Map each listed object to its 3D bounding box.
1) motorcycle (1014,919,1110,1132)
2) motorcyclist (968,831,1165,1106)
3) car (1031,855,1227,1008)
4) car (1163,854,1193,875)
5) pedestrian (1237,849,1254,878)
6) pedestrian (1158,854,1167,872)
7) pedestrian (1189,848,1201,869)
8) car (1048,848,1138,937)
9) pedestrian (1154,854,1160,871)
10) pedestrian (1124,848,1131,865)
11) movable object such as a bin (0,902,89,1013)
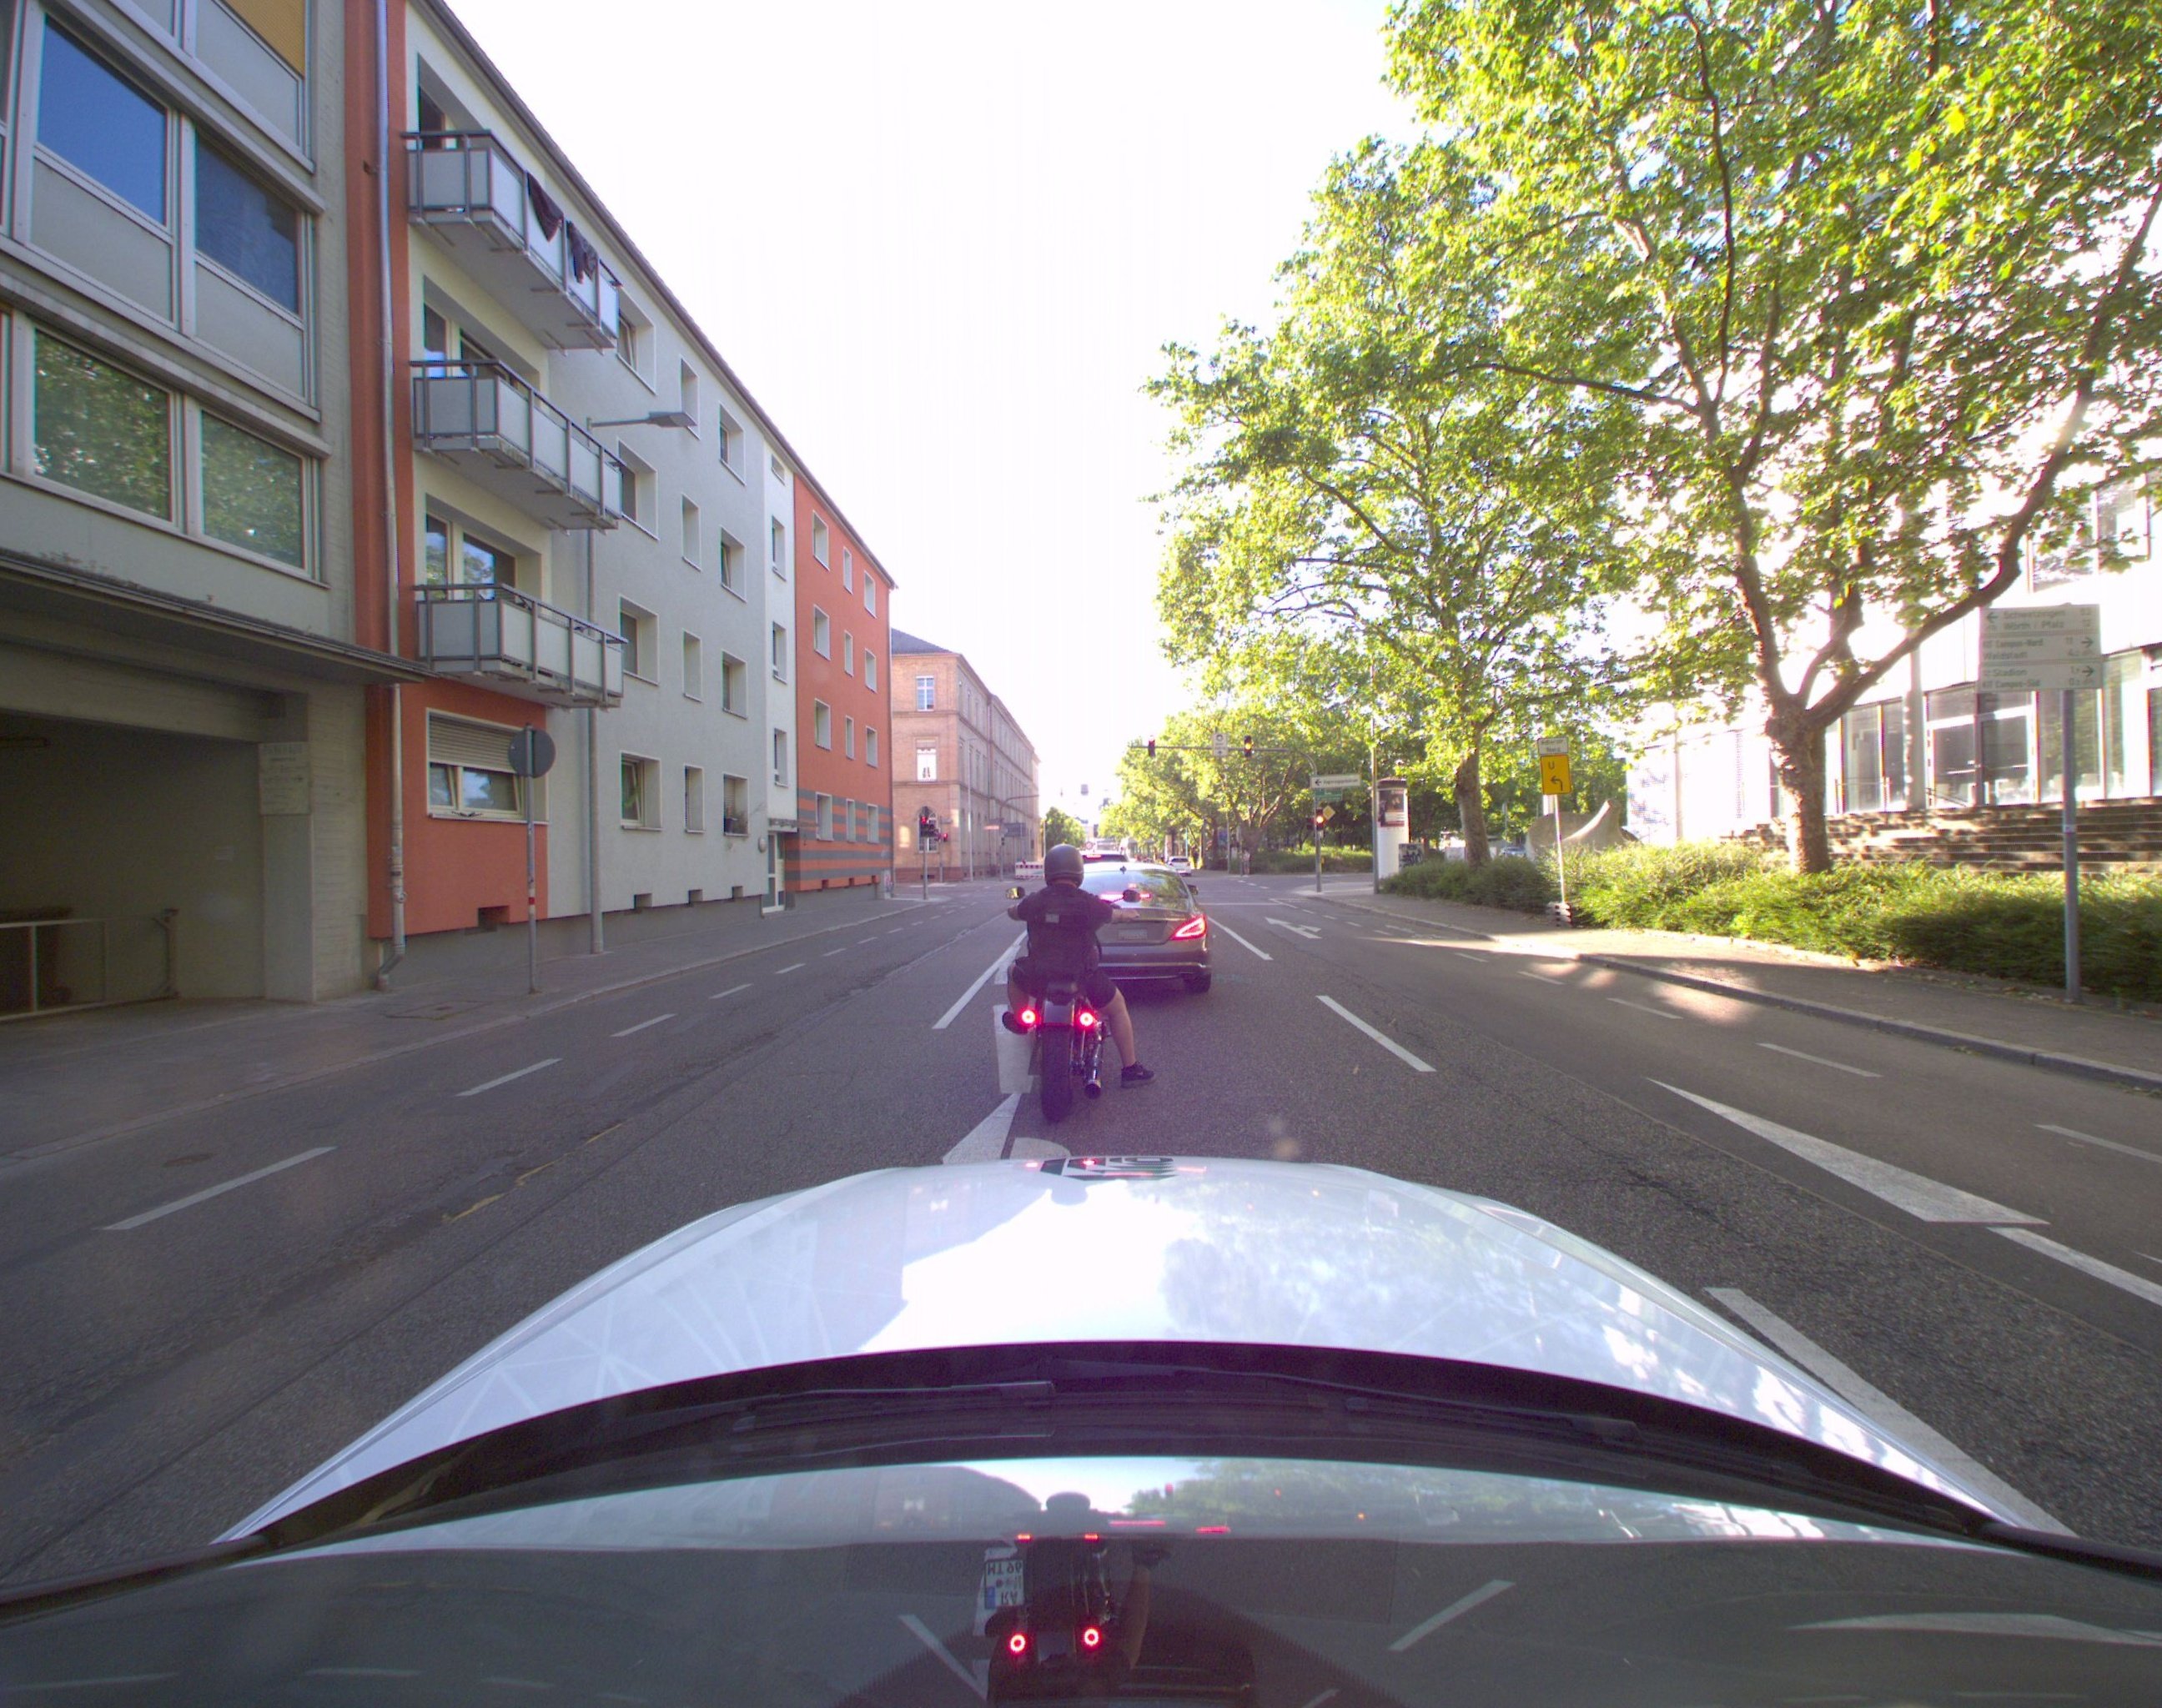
[{"bbox_3d":[-0.072,1.009,5.410,0.511,1.002,2.014,0,-1,2],"label":"motorcycle"},{"bbox_3d":[-0.067,0.676,5.409,1.145,1.598,1.288,0,-1,1],"label":"motorcyclist"},{"bbox_3d":[0.522,0.743,9.738,1.875,1.449,3.821,0,0,2],"label":"car"},{"bbox_3d":[7.022,0.744,59.225,1.769,1.428,3.804,-1,0,2],"label":"car"},{"bbox_3d":[10.799,0.622,53.429,0.996,1.826,1.078,-1,-1,8],"label":"pedestrian"},{"bbox_3d":[9.008,1.001,90.047,0.811,2.014,1.271,0,-1,2],"label":"pedestrian"},{"bbox_3d":[10.728,0.428,76.633,0.753,1.910,0.918,0,-1,-26],"label":"pedestrian"},{"bbox_3d":[0.282,0.697,16.866,1.615,1.594,4.002,-1,0,2],"label":"car"},{"bbox_3d":[9.354,1.030,100.711,0.654,2.014,0.933,0,-1,2],"label":"pedestrian"},{"bbox_3d":[5.781,0.278,100.919,0.761,2.051,0.712,0,-1,1],"label":"pedestrian"},{"bbox_3d":[-11.251,1.075,8.642,0.626,1.100,0.659,0,-1,4],"label":"movable object such as a bin"}]
